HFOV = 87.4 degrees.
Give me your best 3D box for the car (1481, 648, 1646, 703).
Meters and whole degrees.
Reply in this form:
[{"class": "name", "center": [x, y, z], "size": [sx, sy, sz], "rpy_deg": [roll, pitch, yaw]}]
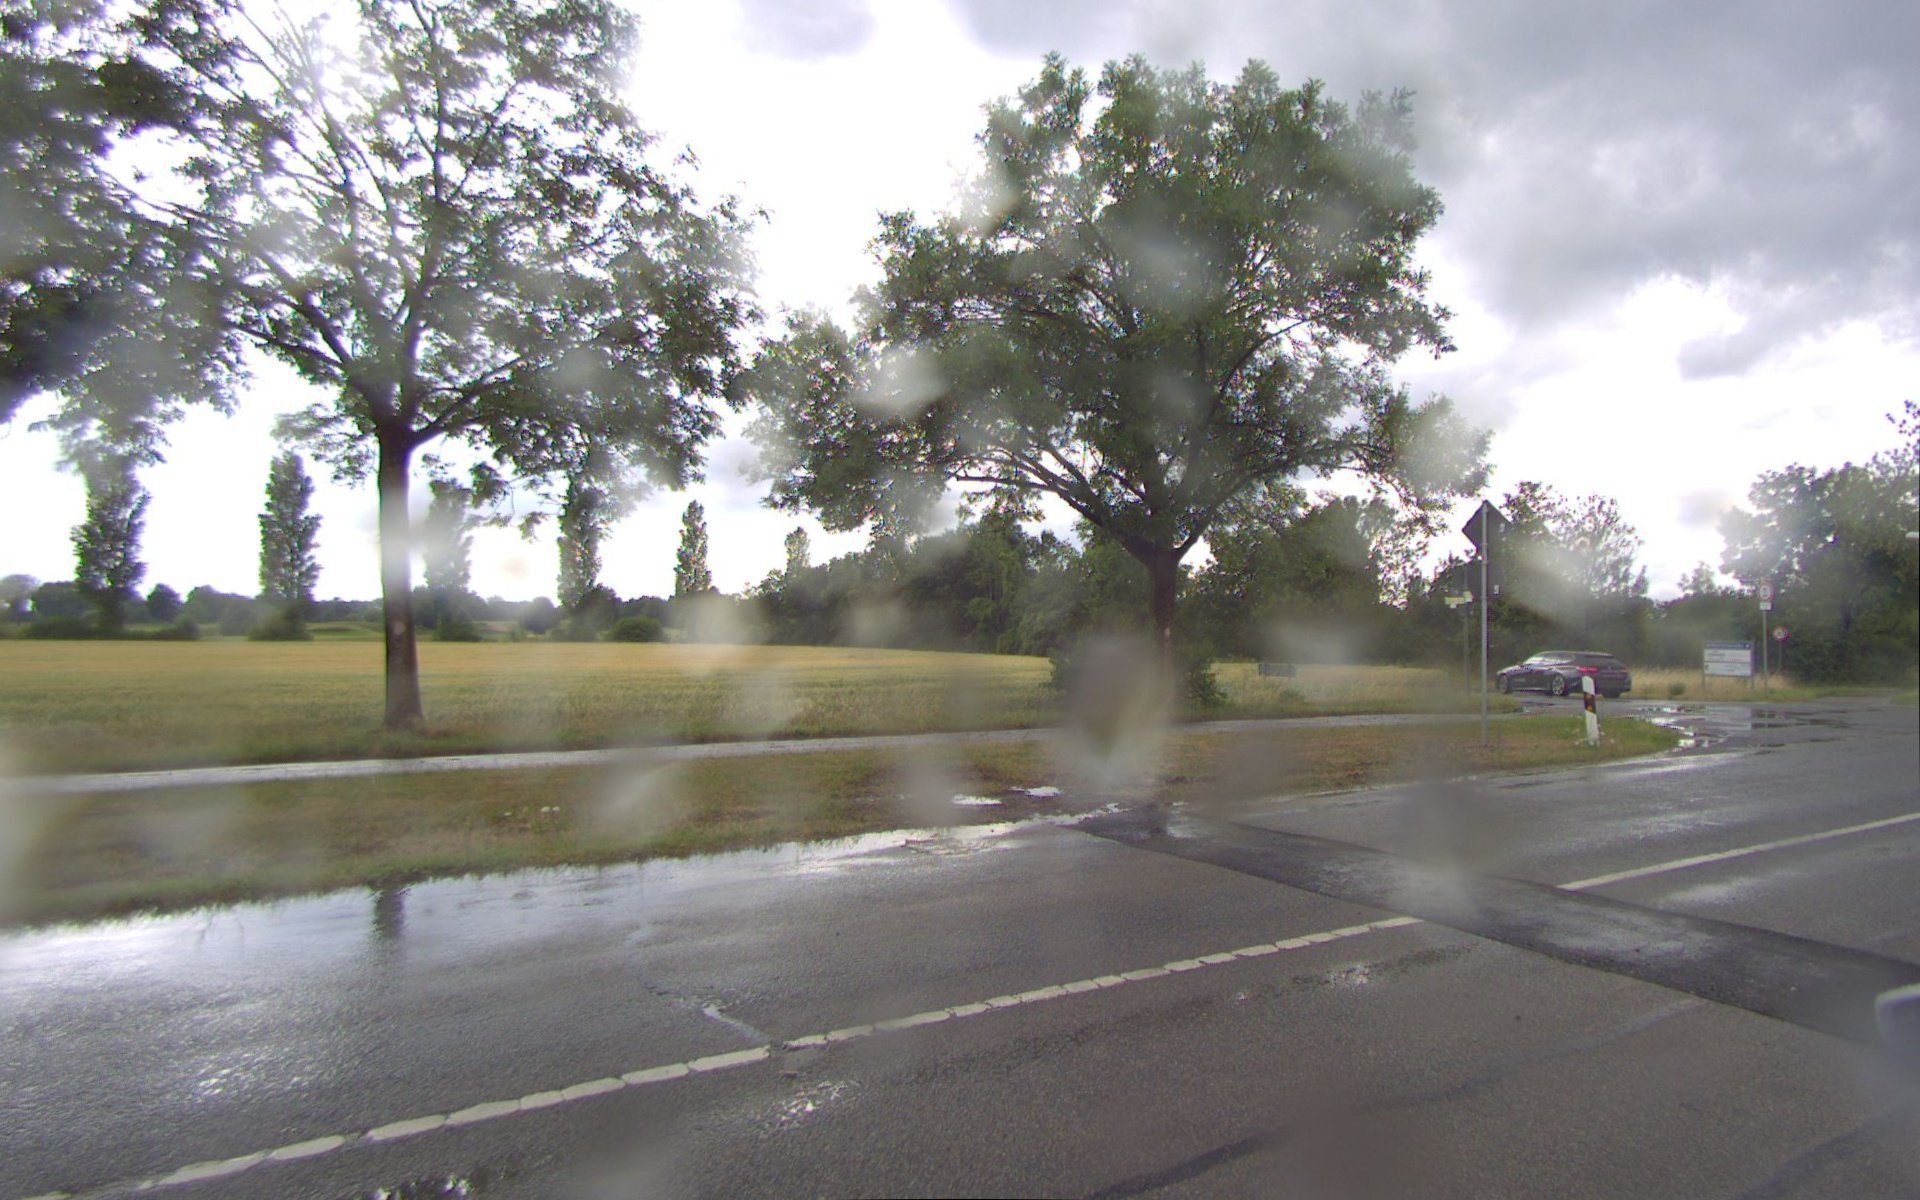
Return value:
[{"class": "car", "center": [19.762, 2.444, 33.159], "size": [2.267, 1.567, 4.627], "rpy_deg": [2, -2, -8]}]
